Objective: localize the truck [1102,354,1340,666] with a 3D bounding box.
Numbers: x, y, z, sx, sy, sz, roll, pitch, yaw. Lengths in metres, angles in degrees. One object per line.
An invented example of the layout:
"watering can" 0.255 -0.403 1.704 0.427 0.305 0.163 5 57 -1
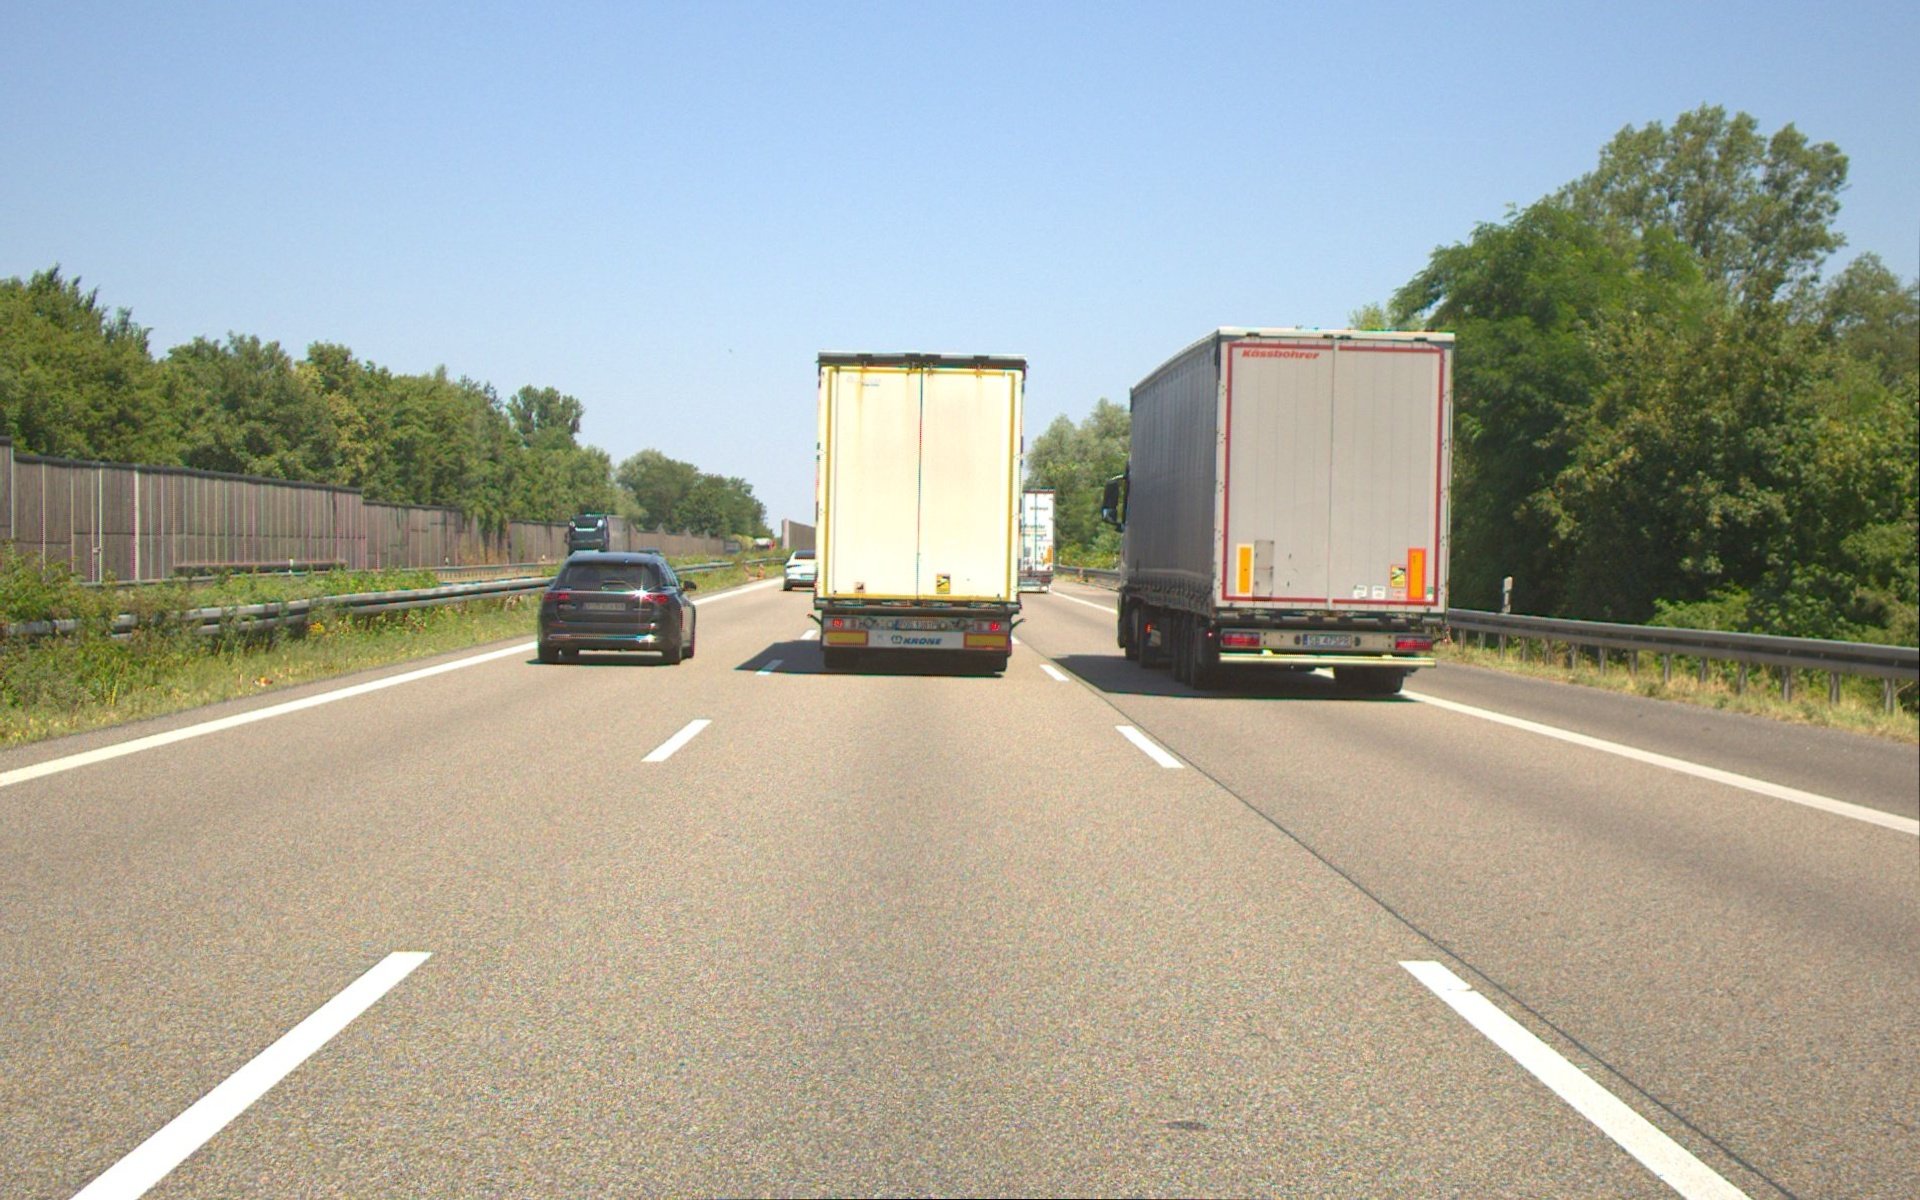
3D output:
"truck" 3.673 -1.274 50.186 2.691 4.201 7.839 0 1 -1

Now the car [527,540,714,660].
"car" -4.568 -0.051 47.064 1.943 1.501 5.821 -1 1 0

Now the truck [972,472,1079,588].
"truck" 2.527 -2.781 136.639 3.374 4.289 11.451 2 1 -3

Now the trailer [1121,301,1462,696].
"trailer" 3.843 -1.189 43.270 2.703 4.201 13.213 0 1 -1

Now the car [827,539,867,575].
"car" -5.325 -2.046 162.584 1.855 1.611 4.000 -1 1 -2

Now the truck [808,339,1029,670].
"truck" -0.669 -1.280 48.972 2.707 4.071 13.475 0 1 -1

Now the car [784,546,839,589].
"car" -5.333 -1.200 123.773 1.855 1.481 4.000 -1 1 -1
